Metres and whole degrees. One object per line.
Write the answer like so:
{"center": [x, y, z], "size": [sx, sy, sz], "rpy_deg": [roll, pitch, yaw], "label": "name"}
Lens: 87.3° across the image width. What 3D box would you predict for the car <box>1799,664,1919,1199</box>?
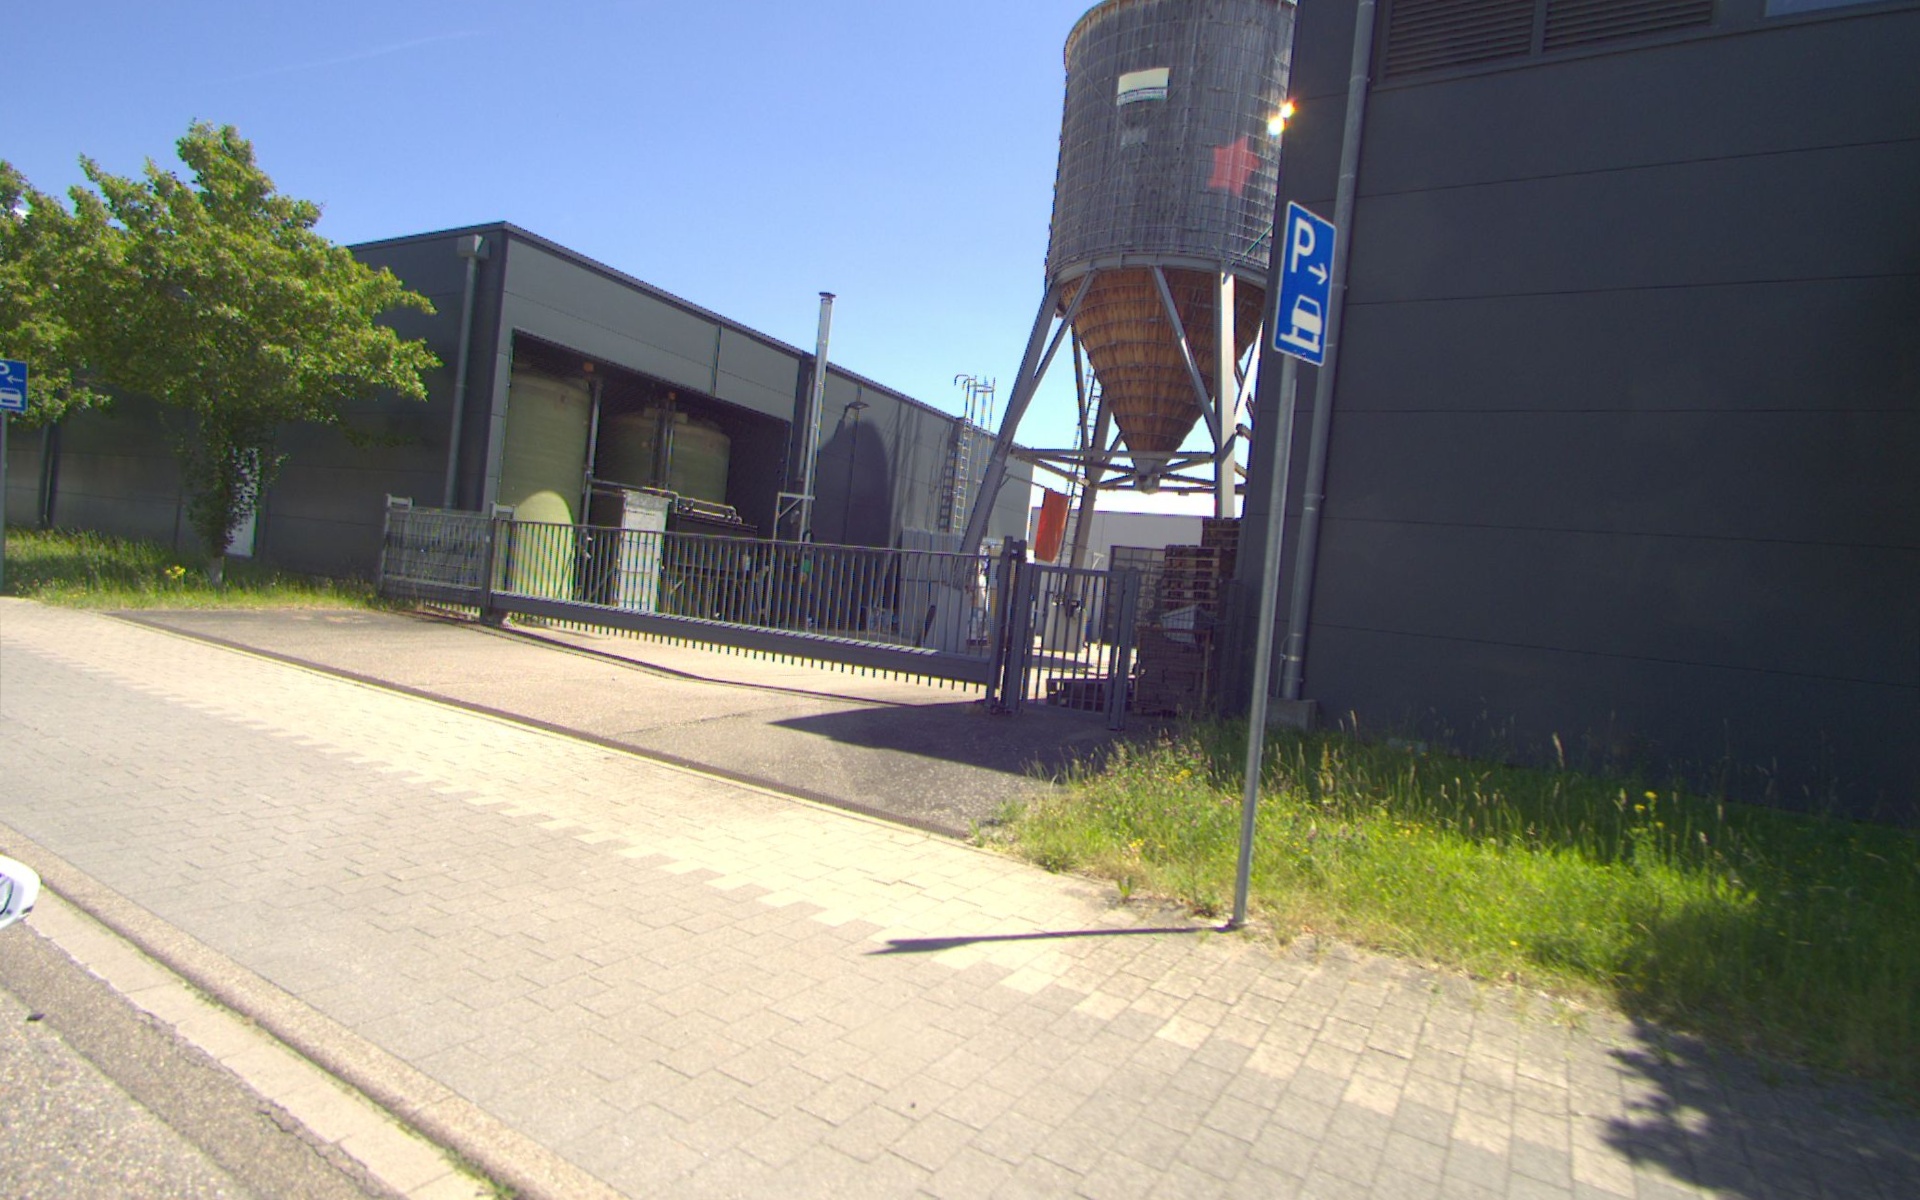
{"center": [3.510, 1.063, 1.030], "size": [3.681, 1.488, 1.638], "rpy_deg": [7, 2, 28], "label": "car"}
